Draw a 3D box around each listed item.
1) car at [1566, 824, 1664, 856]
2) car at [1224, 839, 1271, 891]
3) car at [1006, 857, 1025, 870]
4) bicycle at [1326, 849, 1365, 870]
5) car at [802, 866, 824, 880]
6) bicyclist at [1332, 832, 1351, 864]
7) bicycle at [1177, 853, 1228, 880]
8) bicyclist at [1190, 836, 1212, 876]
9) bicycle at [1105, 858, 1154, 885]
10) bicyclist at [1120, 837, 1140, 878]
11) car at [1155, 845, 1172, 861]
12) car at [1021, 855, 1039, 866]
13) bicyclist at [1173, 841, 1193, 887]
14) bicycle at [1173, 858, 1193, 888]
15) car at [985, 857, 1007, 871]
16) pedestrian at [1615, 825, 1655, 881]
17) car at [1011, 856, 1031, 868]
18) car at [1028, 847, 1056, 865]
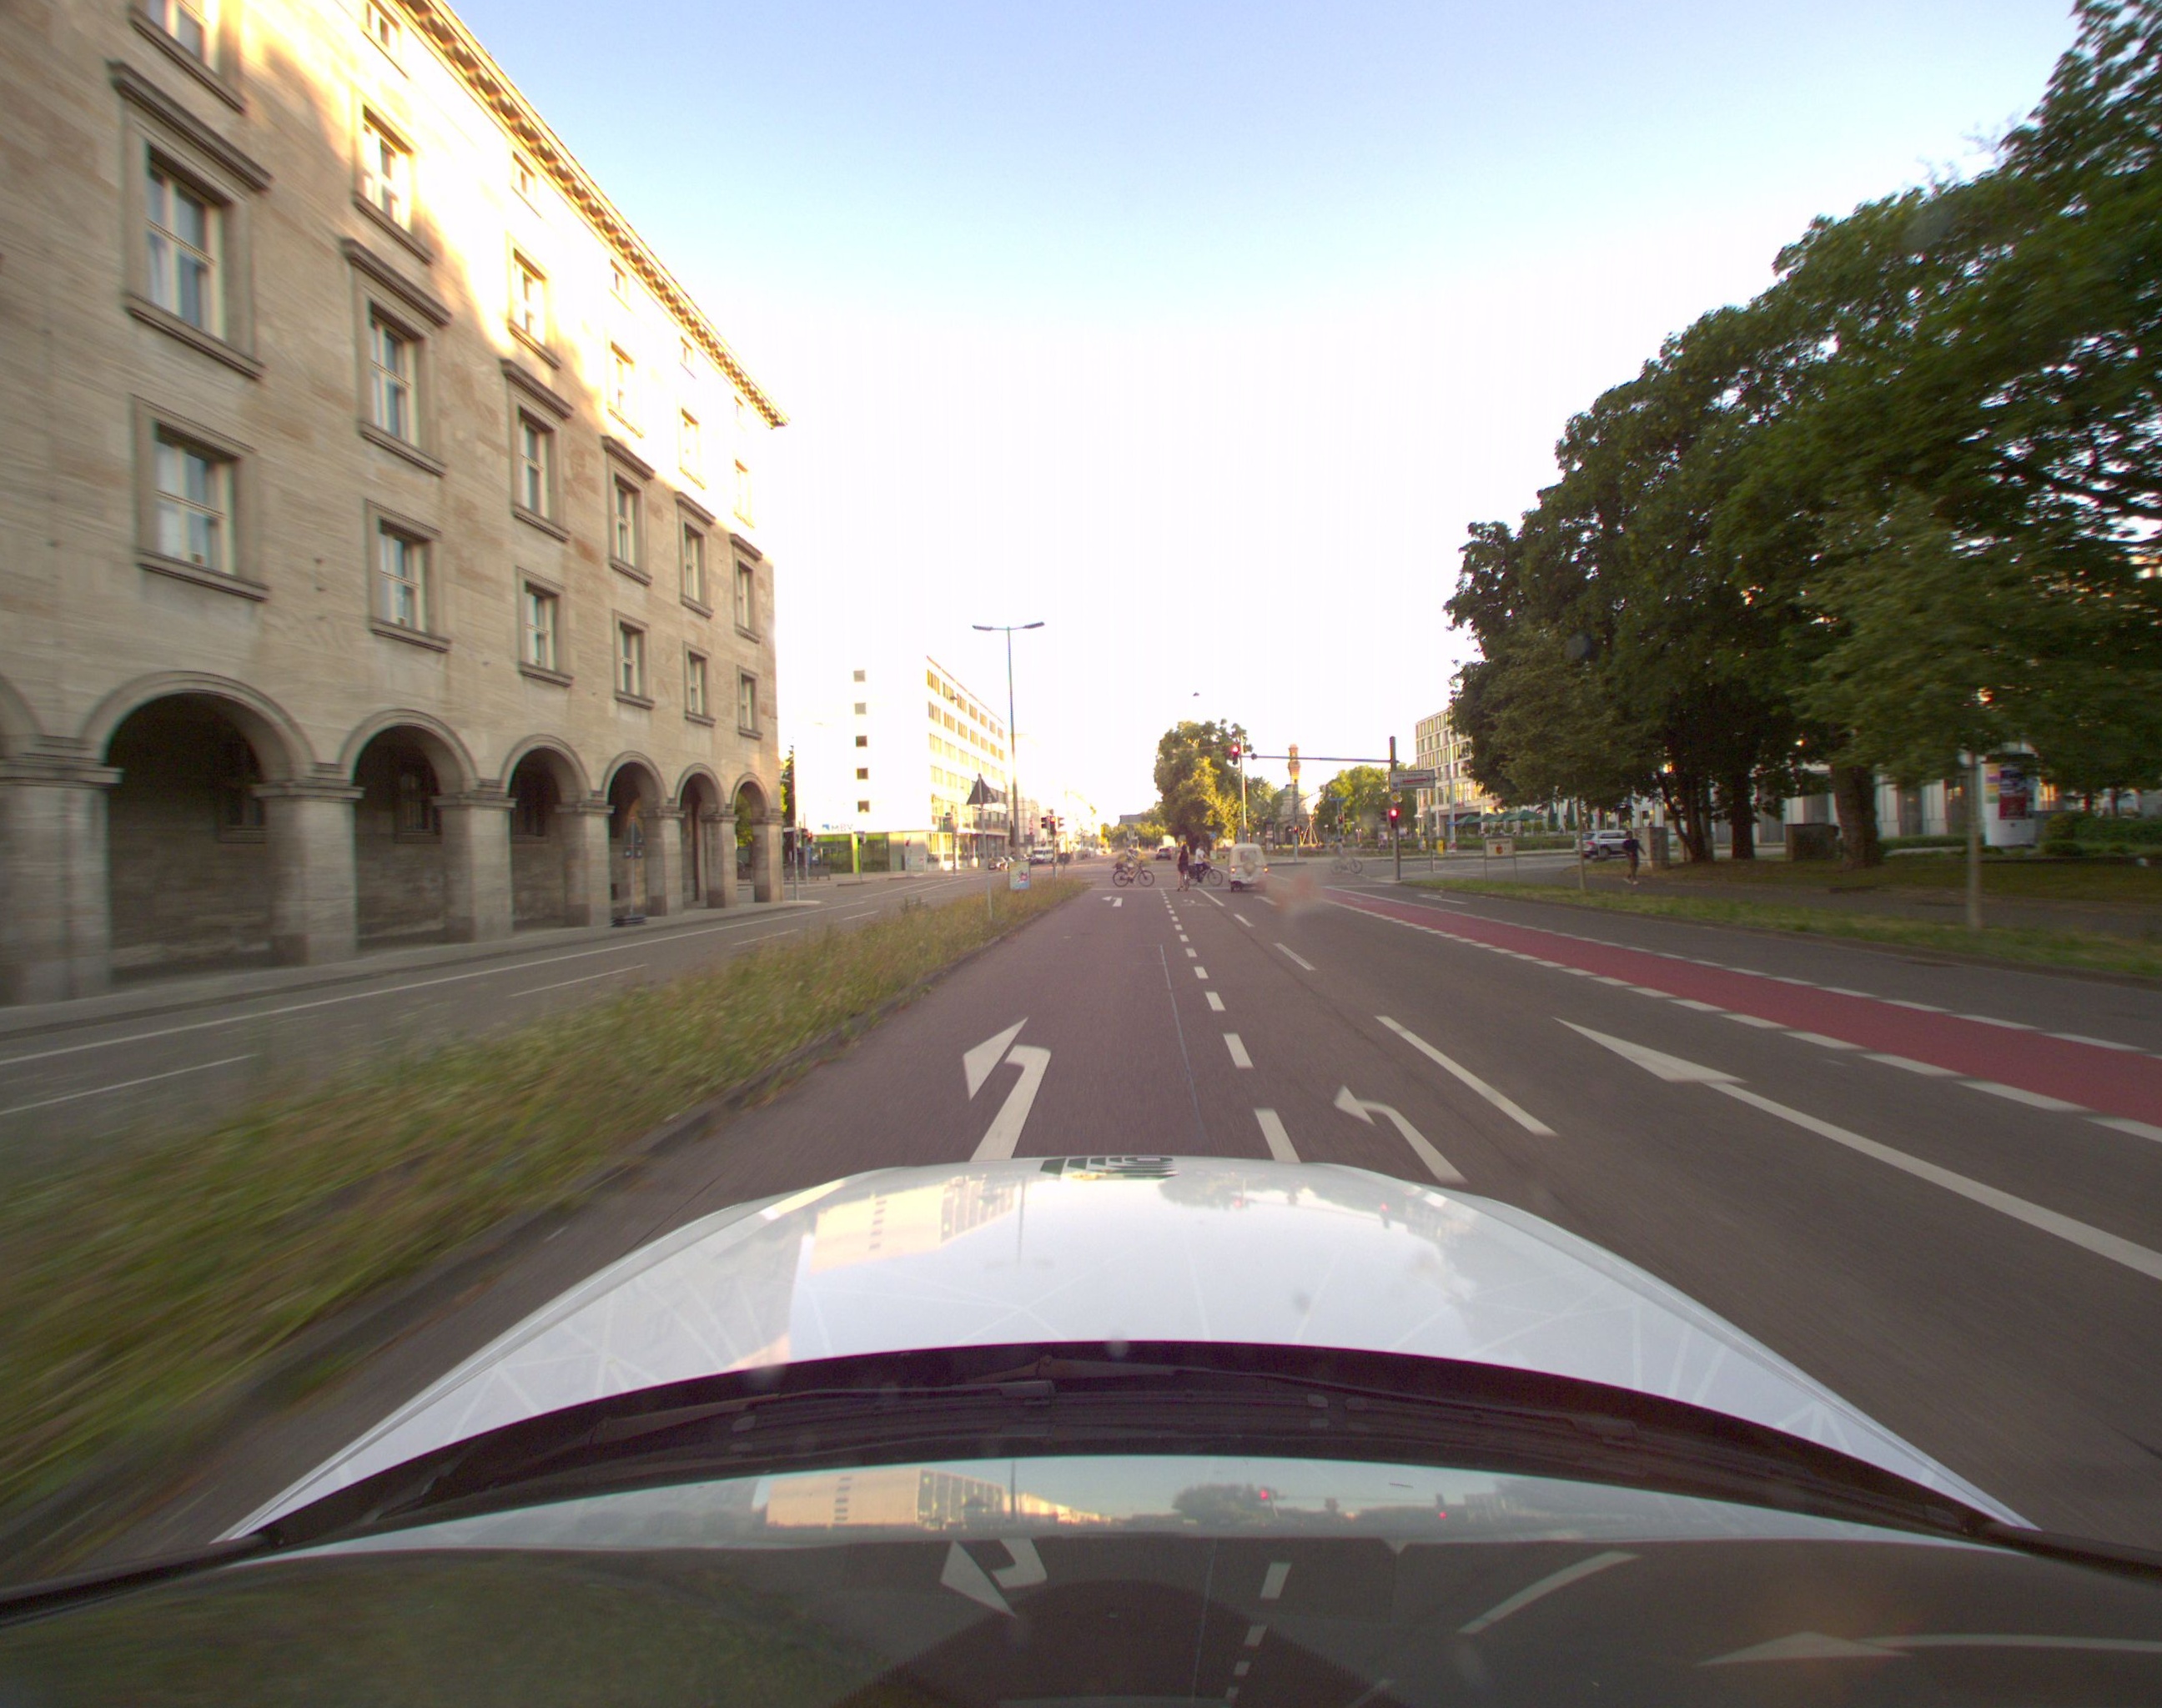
[{"bbox_3d":[31.178,-0.803,47.622,4.524,1.648,1.997,-2,0,-4],"label":"car"},{"bbox_3d":[6.134,0.379,30.174,1.452,1.780,2.569,-2,1,7],"label":"car"},{"bbox_3d":[-8.193,1.268,102.693,1.788,1.475,4.003,-2,-2,4],"label":"car"},{"bbox_3d":[14.079,0.282,43.381,1.886,1.069,0.732,-1,0,7],"label":"bicycle"},{"bbox_3d":[-22.542,1.620,68.617,0.850,1.073,2.524,-2,0,4],"label":"car"},{"bbox_3d":[13.876,-0.324,43.405,0.742,1.693,0.717,-2,0,7],"label":"bicyclist"},{"bbox_3d":[5.255,0.543,35.111,2.042,1.069,0.790,-2,0,16],"label":"bicycle"},{"bbox_3d":[5.188,0.085,35.123,0.740,1.693,0.769,-2,0,18],"label":"bicyclist"},{"bbox_3d":[2.126,0.741,35.306,2.003,1.069,0.733,-2,0,9],"label":"bicycle"},{"bbox_3d":[2.124,0.149,35.297,0.741,1.693,0.717,-2,0,9],"label":"bicyclist"},{"bbox_3d":[10.693,-0.125,105.324,1.985,2.013,4.004,-2,0,3],"label":"car"},{"bbox_3d":[-7.119,0.911,114.029,1.786,1.475,4.008,-3,-2,8],"label":"car"},{"bbox_3d":[3.823,0.371,30.586,0.625,1.693,0.749,-2,0,3],"label":"bicyclist"},{"bbox_3d":[3.869,0.704,30.900,0.634,1.069,2.072,-1,0,4],"label":"bicycle"},{"bbox_3d":[-9.452,1.133,90.960,1.788,1.475,4.003,-2,-2,4],"label":"car"},{"bbox_3d":[17.352,-0.024,25.522,0.692,1.693,0.749,-2,0,3],"label":"pedestrian"},{"bbox_3d":[-7.926,1.095,107.659,1.786,1.475,4.008,-3,-2,8],"label":"car"},{"bbox_3d":[-5.748,0.339,120.557,2.160,2.385,6.013,-3,-2,16],"label":"car"}]
